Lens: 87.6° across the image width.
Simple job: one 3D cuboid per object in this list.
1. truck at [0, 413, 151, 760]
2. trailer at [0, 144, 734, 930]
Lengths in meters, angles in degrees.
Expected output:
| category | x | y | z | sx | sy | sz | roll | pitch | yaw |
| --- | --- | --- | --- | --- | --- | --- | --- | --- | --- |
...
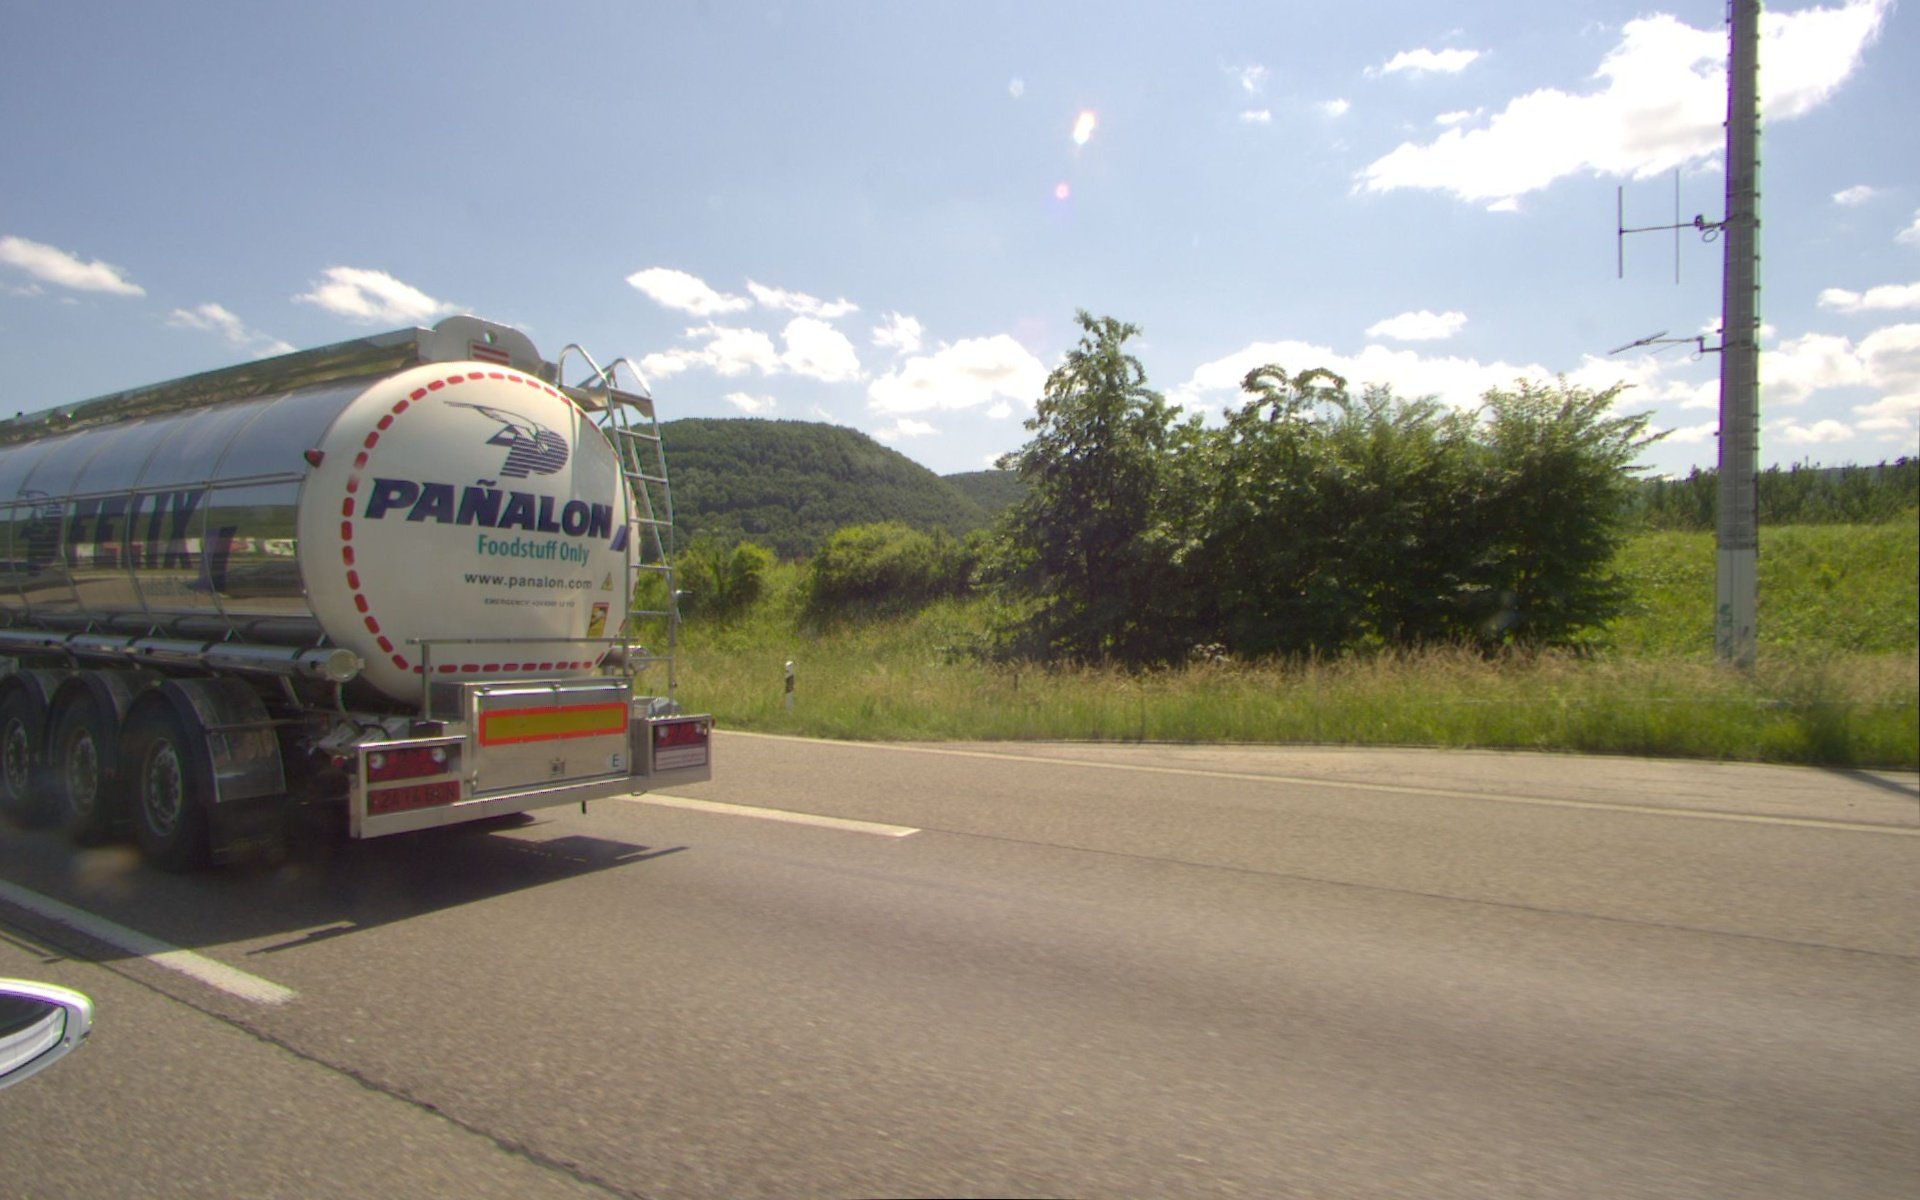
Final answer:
| category | x | y | z | sx | sy | sz | roll | pitch | yaw |
| --- | --- | --- | --- | --- | --- | --- | --- | --- | --- |
| truck | -12.682 | -0.109 | 12.486 | 5.171 | 3.807 | 2.507 | -1 | -1 | 33 |
| trailer | -7.204 | -0.197 | 9.012 | 11.720 | 3.783 | 2.534 | -1 | -1 | 32 |
